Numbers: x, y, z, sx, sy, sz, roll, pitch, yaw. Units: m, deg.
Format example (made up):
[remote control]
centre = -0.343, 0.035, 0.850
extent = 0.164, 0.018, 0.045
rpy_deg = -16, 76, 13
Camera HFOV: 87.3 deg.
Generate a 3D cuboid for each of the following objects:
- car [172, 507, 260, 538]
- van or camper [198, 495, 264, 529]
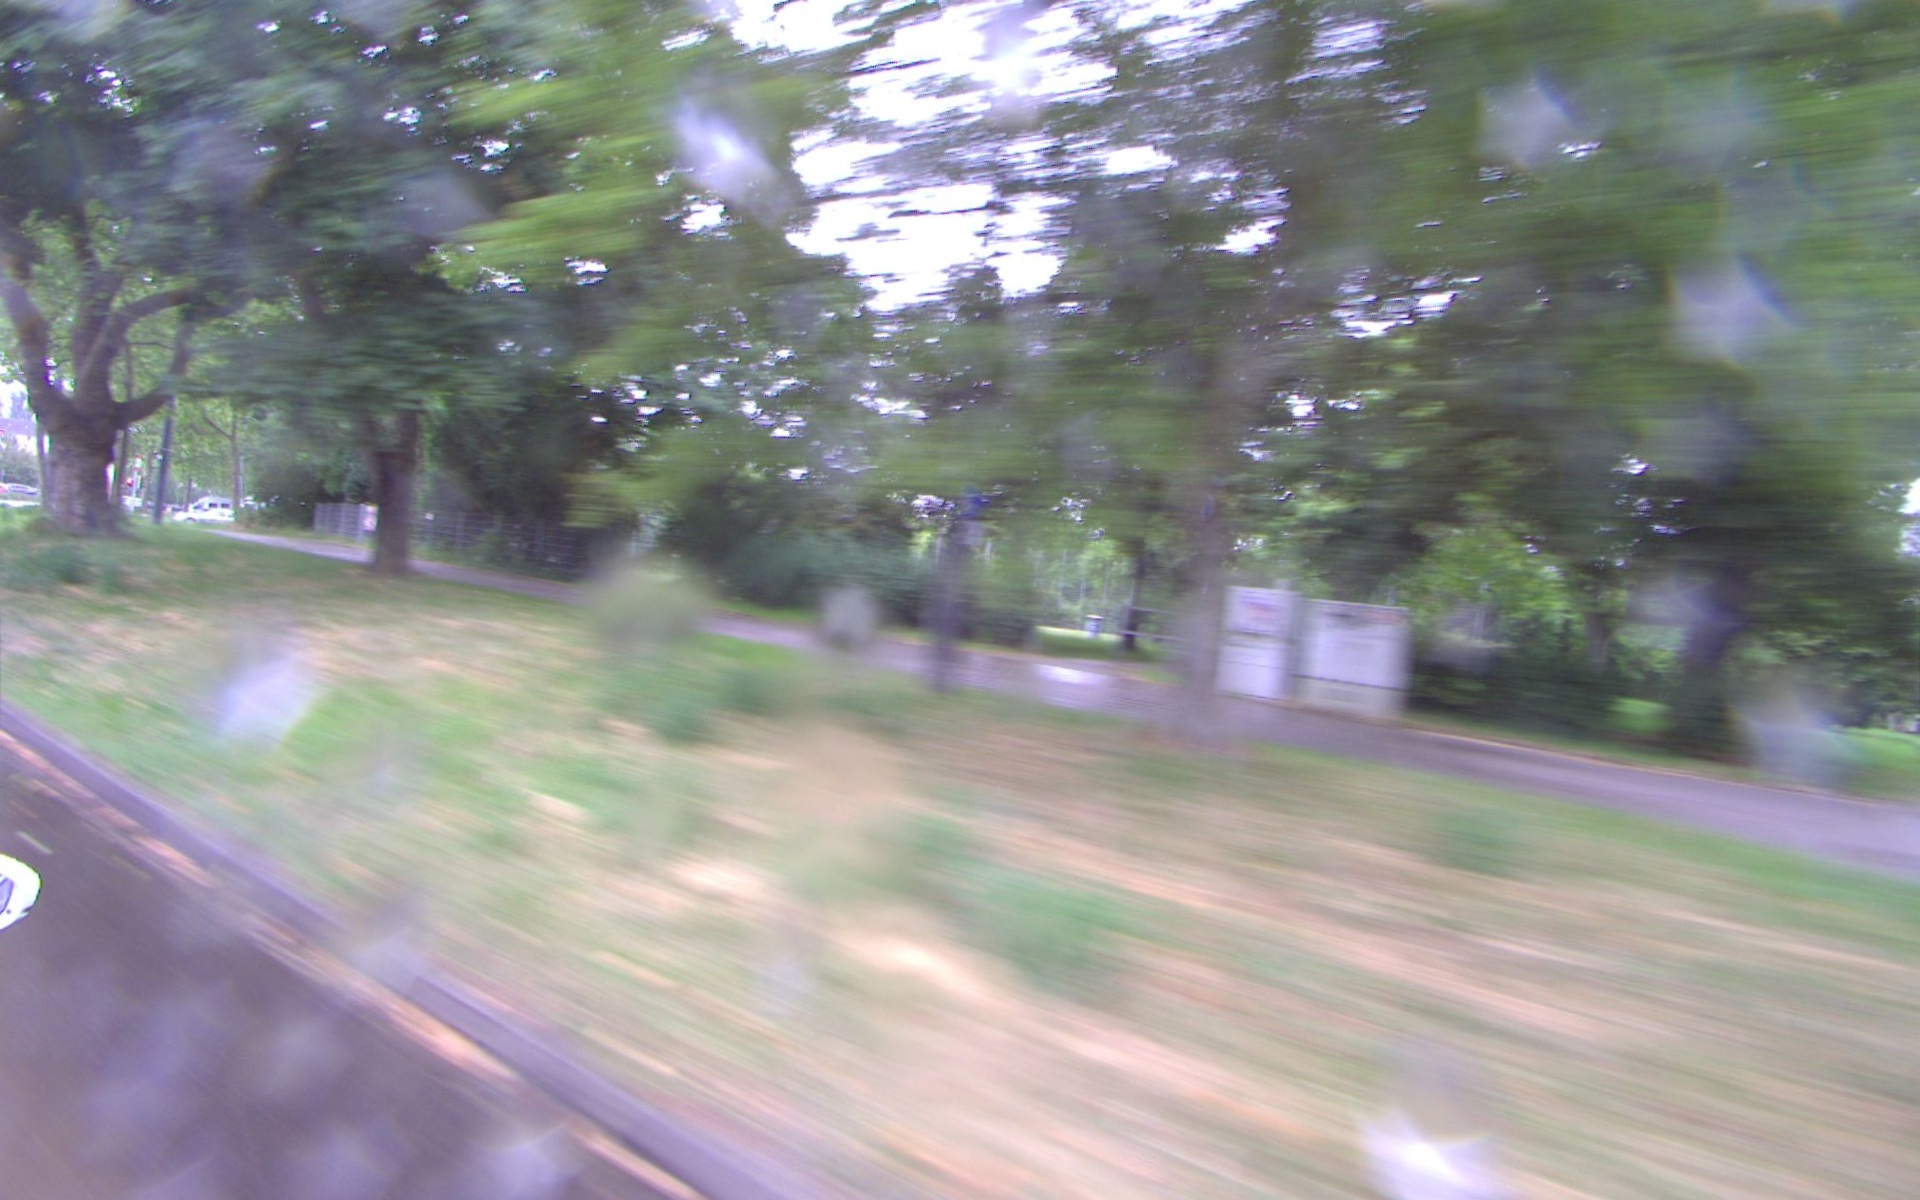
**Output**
[car]
centre = -49.909, -5.175, 67.567
extent = 1.623, 1.407, 4.501
rpy_deg = 7, 0, 44
[van or camper]
centre = -79.800, -9.604, 110.226
extent = 5.173, 2.730, 2.229
rpy_deg = 9, 0, -25
